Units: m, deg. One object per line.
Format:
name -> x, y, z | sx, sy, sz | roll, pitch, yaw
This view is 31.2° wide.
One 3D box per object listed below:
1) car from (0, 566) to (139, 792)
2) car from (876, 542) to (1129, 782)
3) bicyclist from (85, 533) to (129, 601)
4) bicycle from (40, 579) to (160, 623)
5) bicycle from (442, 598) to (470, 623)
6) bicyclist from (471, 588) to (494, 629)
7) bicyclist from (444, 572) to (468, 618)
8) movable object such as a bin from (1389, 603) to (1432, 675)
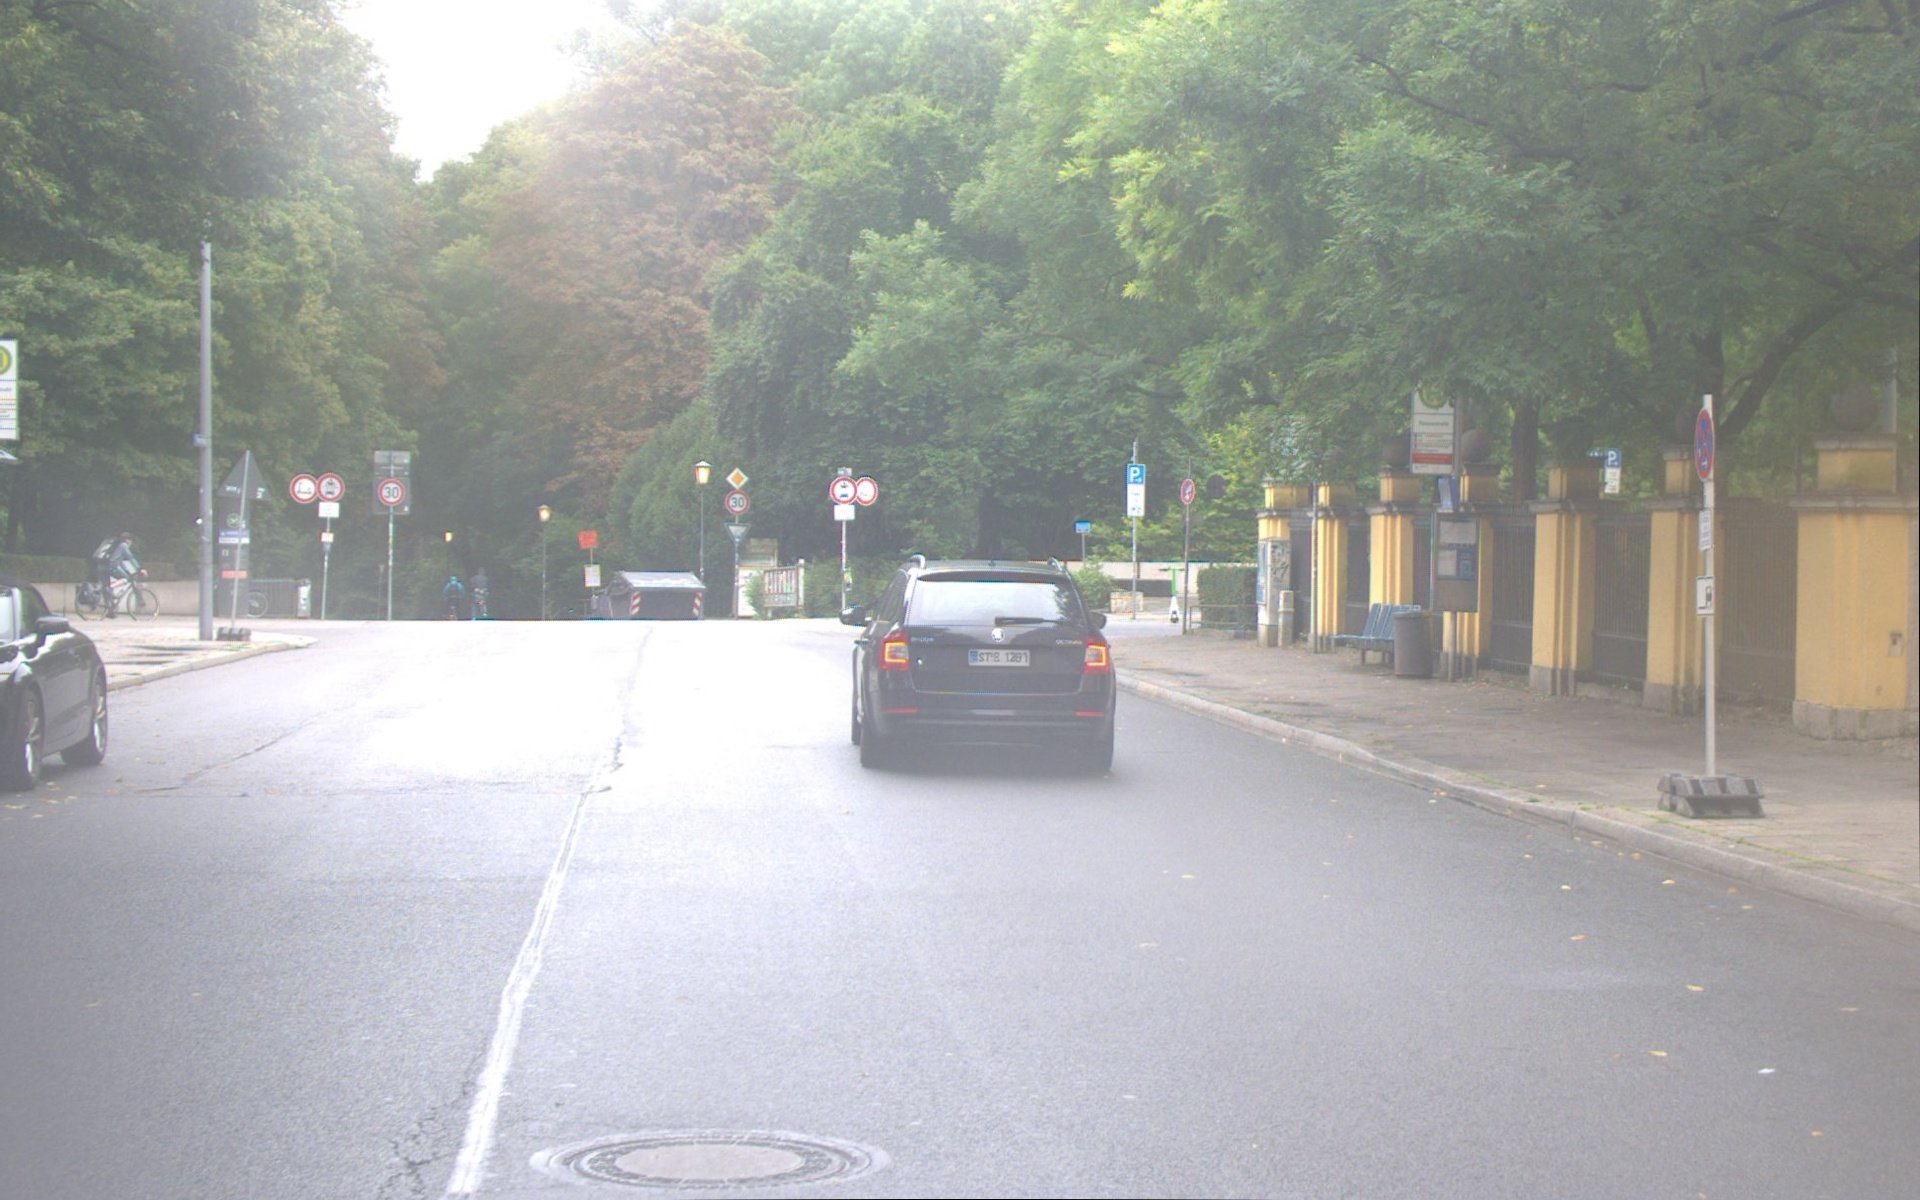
car -> -6.570, 0.452, 22.658 | 1.577, 1.338, 4.045 | 0, 1, -4
car -> 0.233, 0.384, 24.768 | 1.577, 1.578, 4.045 | 0, 1, -3
bicyclist -> -16.279, -0.636, 65.601 | 0.597, 1.278, 0.683 | 0, 1, -37
bicycle -> -16.384, 0.016, 65.526 | 2.103, 0.827, 0.681 | 0, 0, -38
bicycle -> -16.883, 0.351, 115.137 | 0.679, 0.827, 2.110 | 0, 0, -15
bicyclist -> -14.156, 0.248, 101.886 | 0.680, 1.183, 0.481 | 0, 1, -8
bicyclist -> -16.905, -0.172, 115.304 | 0.680, 1.499, 0.901 | 0, 1, -14
movable object such as a bin -> 4.990, 0.433, 38.103 | 0.396, 0.778, 0.465 | 0, 1, -3
